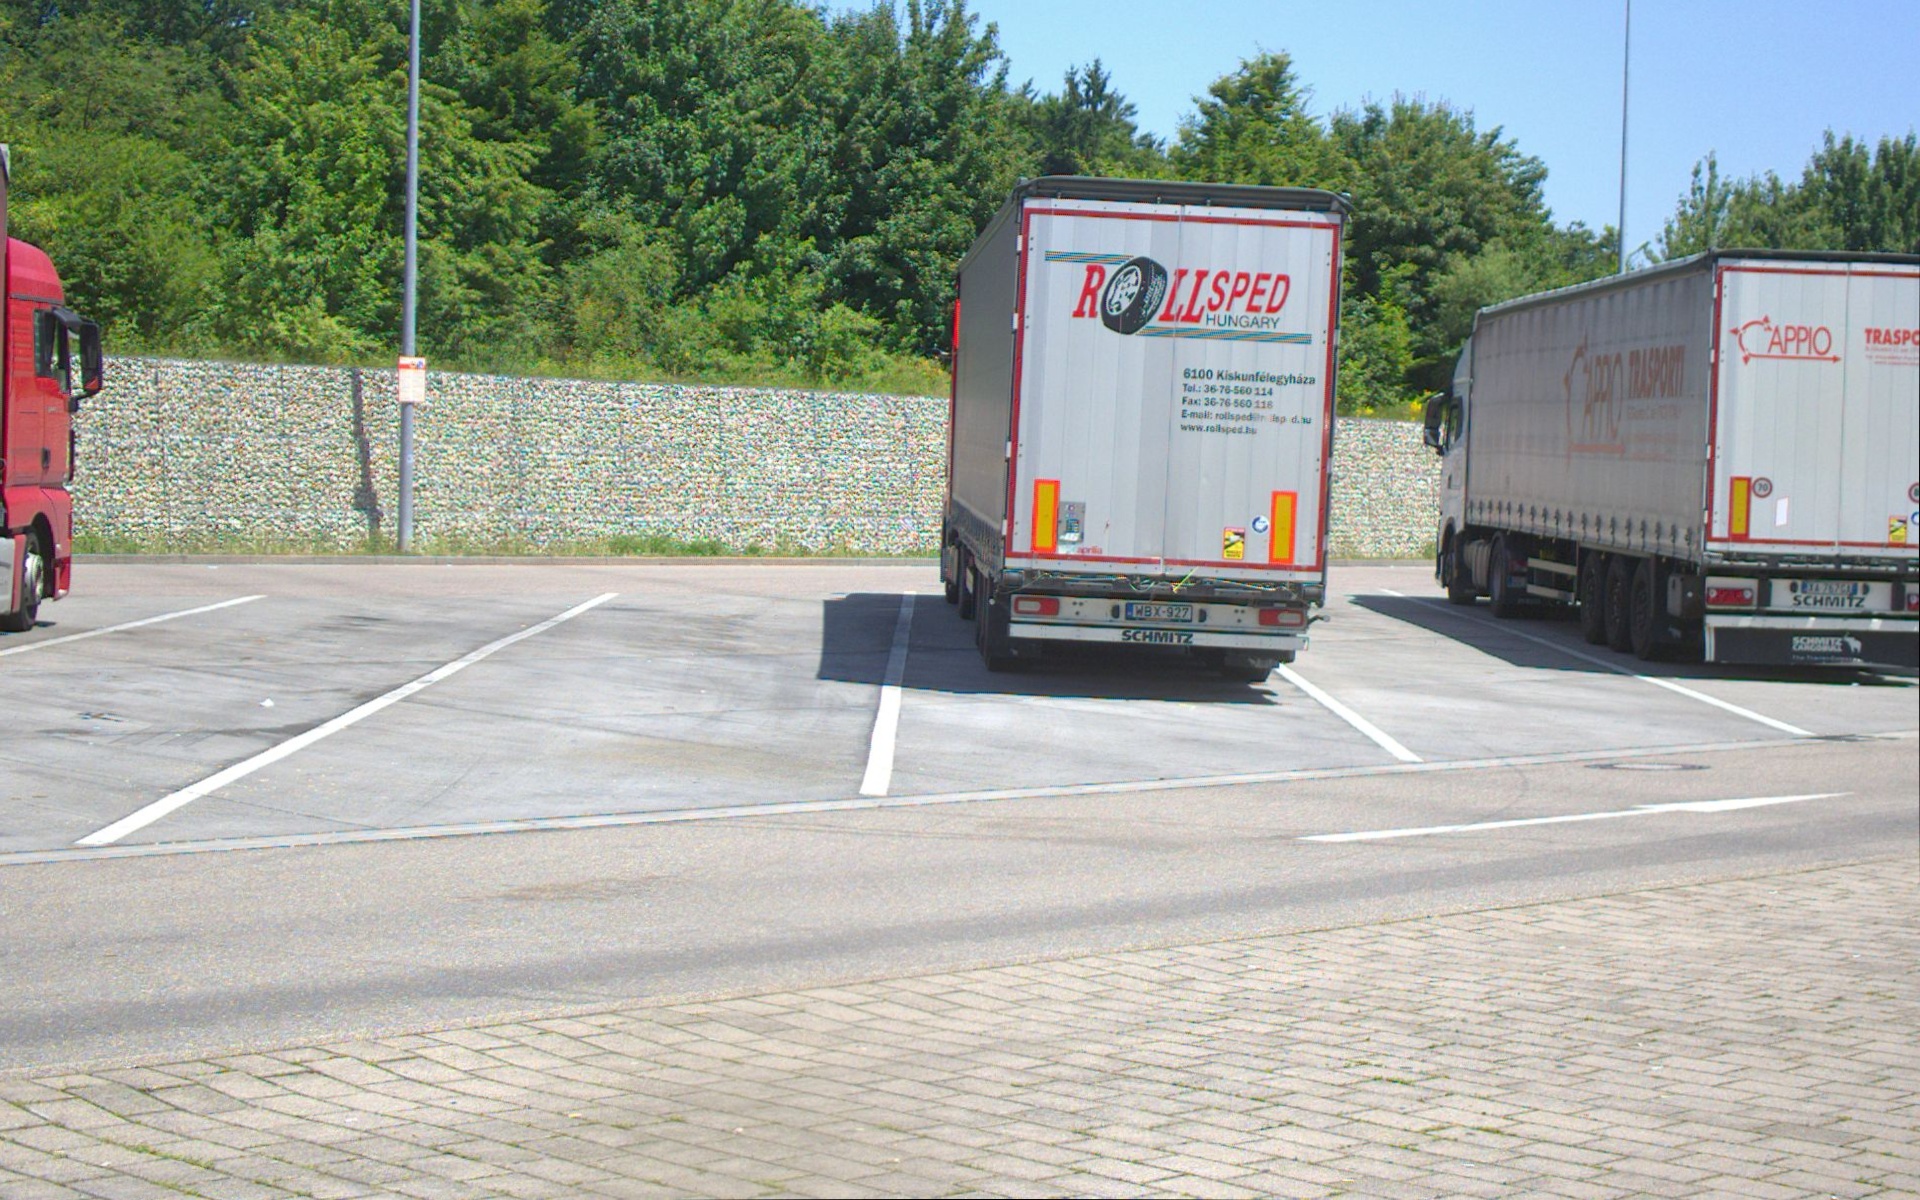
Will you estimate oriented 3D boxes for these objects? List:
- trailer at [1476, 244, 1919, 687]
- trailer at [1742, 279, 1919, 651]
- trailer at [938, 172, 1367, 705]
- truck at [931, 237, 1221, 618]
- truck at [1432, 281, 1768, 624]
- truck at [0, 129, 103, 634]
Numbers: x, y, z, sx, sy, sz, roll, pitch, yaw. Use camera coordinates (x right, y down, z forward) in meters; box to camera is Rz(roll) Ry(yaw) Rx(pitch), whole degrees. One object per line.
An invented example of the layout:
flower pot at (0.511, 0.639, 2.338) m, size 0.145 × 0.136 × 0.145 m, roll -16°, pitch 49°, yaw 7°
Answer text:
trailer at (8.180, -1.569, 37.941) m, size 2.866 × 4.023 × 12.439 m, roll 2°, pitch 3°, yaw 0°
trailer at (11.836, -1.529, 39.004) m, size 2.866 × 4.023 × 12.439 m, roll 2°, pitch 3°, yaw 0°
trailer at (1.436, -1.637, 33.604) m, size 2.866 × 4.023 × 14.243 m, roll 2°, pitch 3°, yaw -2°
truck at (1.224, -2.057, 40.683) m, size 2.866 × 4.023 × 7.028 m, roll 2°, pitch 3°, yaw -2°
truck at (8.122, -1.952, 44.567) m, size 2.866 × 4.023 × 6.957 m, roll 2°, pitch 3°, yaw 0°
truck at (-9.152, -1.813, 27.966) m, size 2.696 × 4.099 × 6.240 m, roll 2°, pitch 3°, yaw 0°
